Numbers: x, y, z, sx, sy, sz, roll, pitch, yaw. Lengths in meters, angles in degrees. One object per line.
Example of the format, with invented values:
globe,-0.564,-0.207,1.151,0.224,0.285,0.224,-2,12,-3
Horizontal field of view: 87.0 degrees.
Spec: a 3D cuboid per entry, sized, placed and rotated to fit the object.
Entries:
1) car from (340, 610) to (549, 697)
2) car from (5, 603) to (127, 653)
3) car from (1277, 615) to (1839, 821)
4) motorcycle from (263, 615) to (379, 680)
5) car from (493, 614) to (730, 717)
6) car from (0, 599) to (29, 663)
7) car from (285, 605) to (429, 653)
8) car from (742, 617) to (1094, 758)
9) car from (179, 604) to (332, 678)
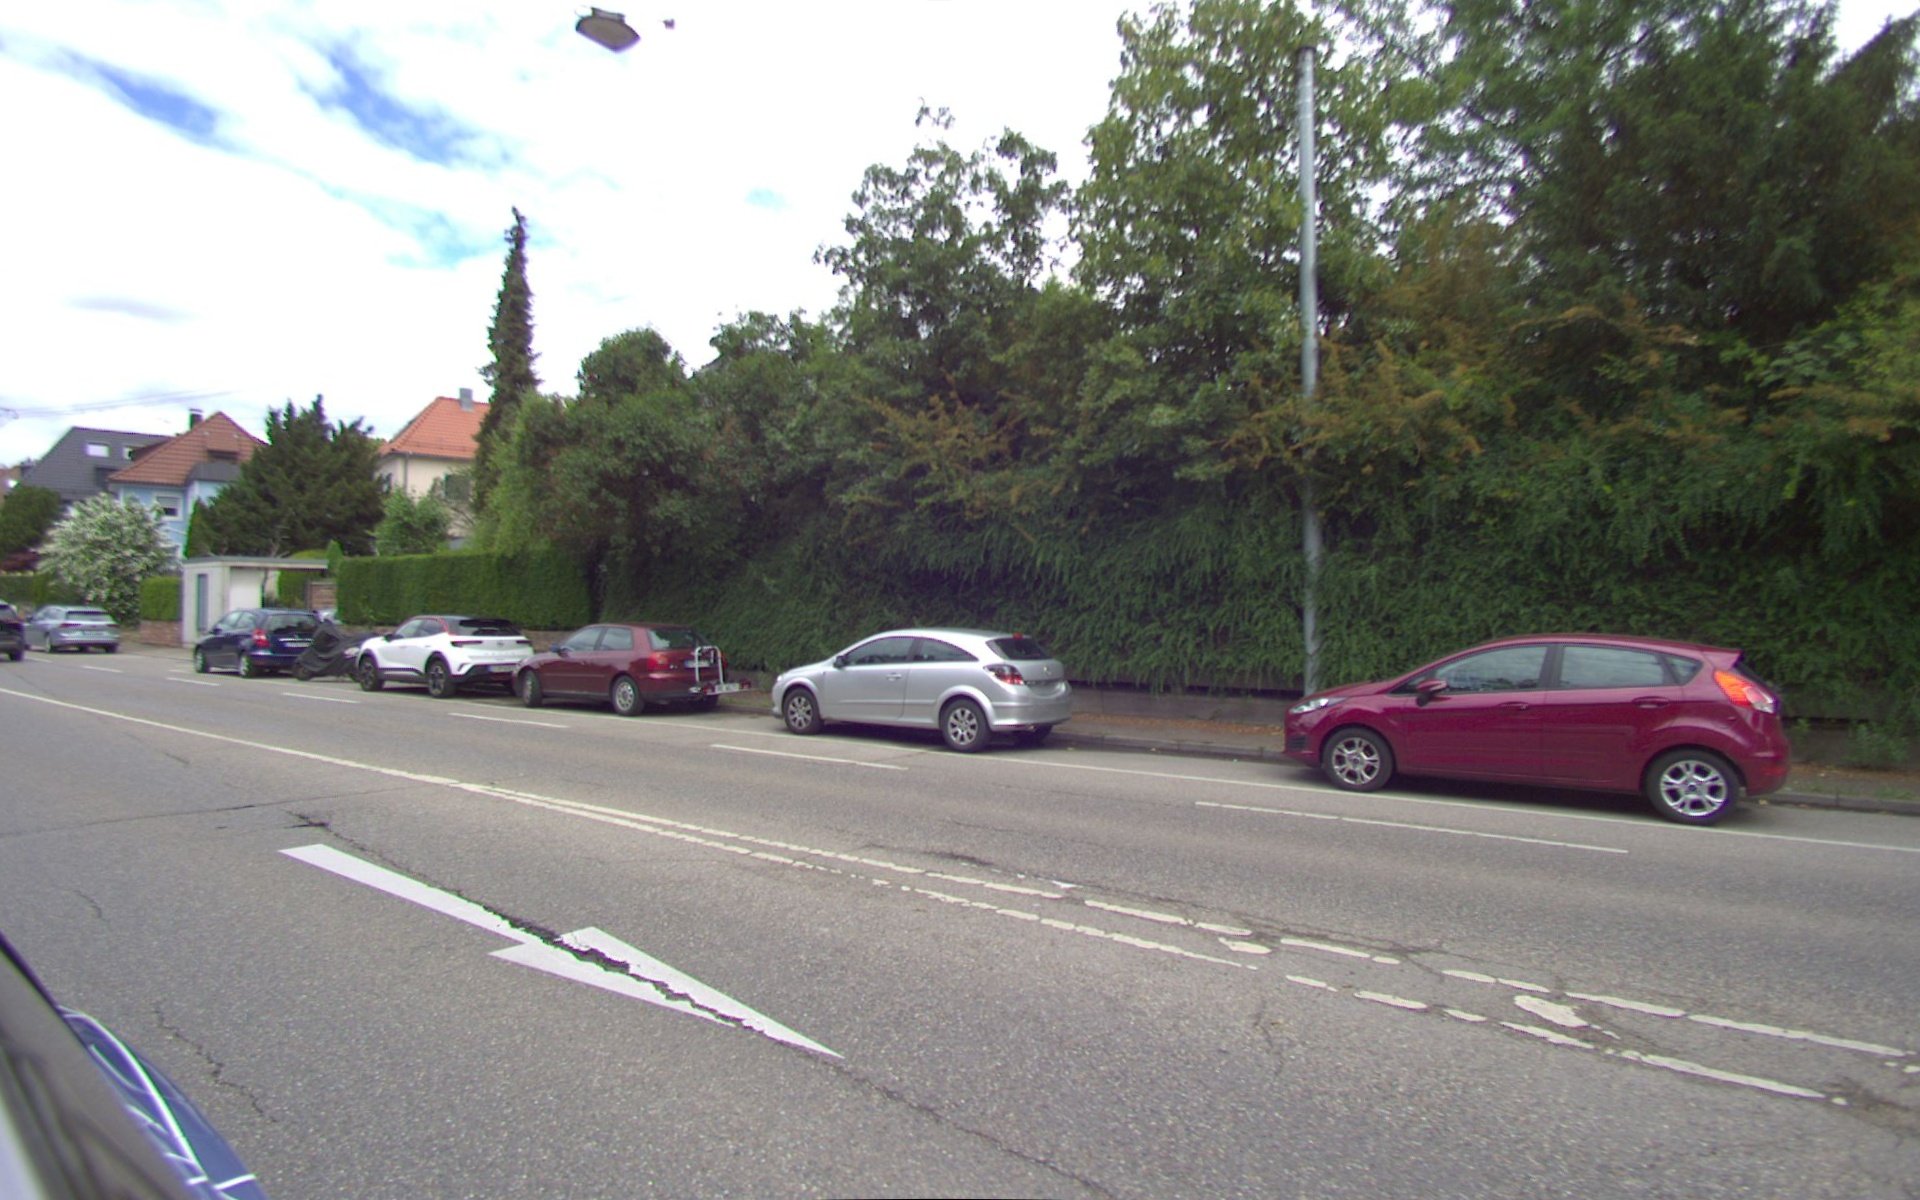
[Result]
car,-10.015,0.976,19.597,4.016,1.506,1.874,0,-2,34
car,-28.561,0.885,32.292,4.401,1.466,1.794,0,-3,33
car,5.093,0.877,9.083,3.989,1.449,1.765,0,-1,34
motorcycle,-13.935,1.056,22.083,2.288,1.366,0.883,-1,-3,19
car,-5.786,1.009,16.675,3.900,1.489,1.656,0,-2,34
car,-26.788,0.784,27.121,4.203,1.659,1.827,0,-1,35
car,-18.937,0.880,31.871,1.850,1.401,3.548,0,-1,43
car,-0.638,0.998,13.027,4.420,1.499,1.655,0,-2,35
car,-16.824,0.941,24.127,3.962,1.568,1.664,1,-2,35
